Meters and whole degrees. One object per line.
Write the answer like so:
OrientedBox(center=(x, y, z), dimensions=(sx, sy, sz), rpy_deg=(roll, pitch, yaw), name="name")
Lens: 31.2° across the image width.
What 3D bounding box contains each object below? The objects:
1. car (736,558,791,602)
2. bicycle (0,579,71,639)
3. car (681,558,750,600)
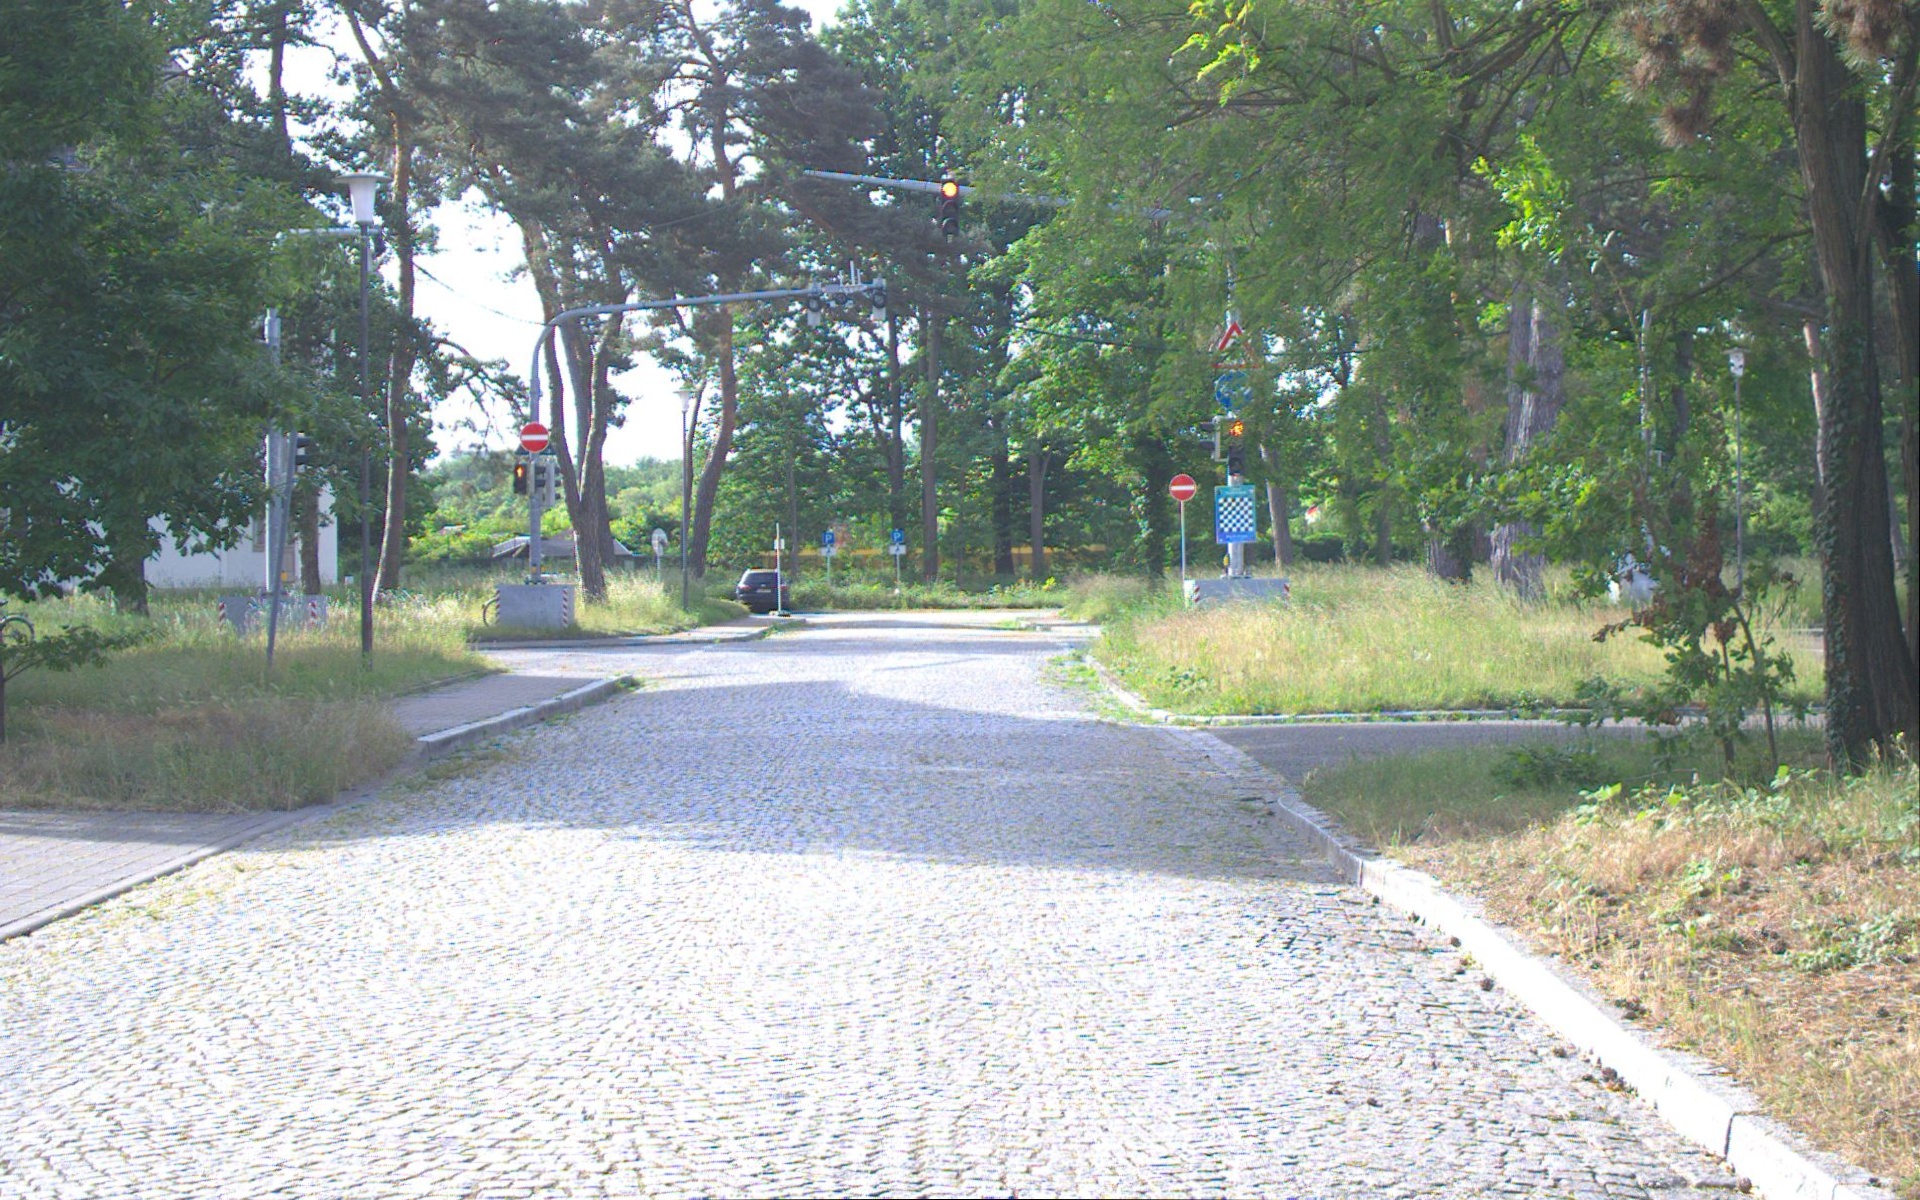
OrientedBox(center=(-6.792, -0.705, 119.274), dimensions=(1.845, 1.481, 4.000), rpy_deg=(-1, 1, -2), name="car")
OrientedBox(center=(-17.129, 0.164, 61.779), dimensions=(2.117, 1.043, 0.829), rpy_deg=(-1, 1, -3), name="bicycle")
OrientedBox(center=(-8.791, -0.768, 123.973), dimensions=(1.783, 1.485, 3.754), rpy_deg=(-1, 1, 7), name="car")
